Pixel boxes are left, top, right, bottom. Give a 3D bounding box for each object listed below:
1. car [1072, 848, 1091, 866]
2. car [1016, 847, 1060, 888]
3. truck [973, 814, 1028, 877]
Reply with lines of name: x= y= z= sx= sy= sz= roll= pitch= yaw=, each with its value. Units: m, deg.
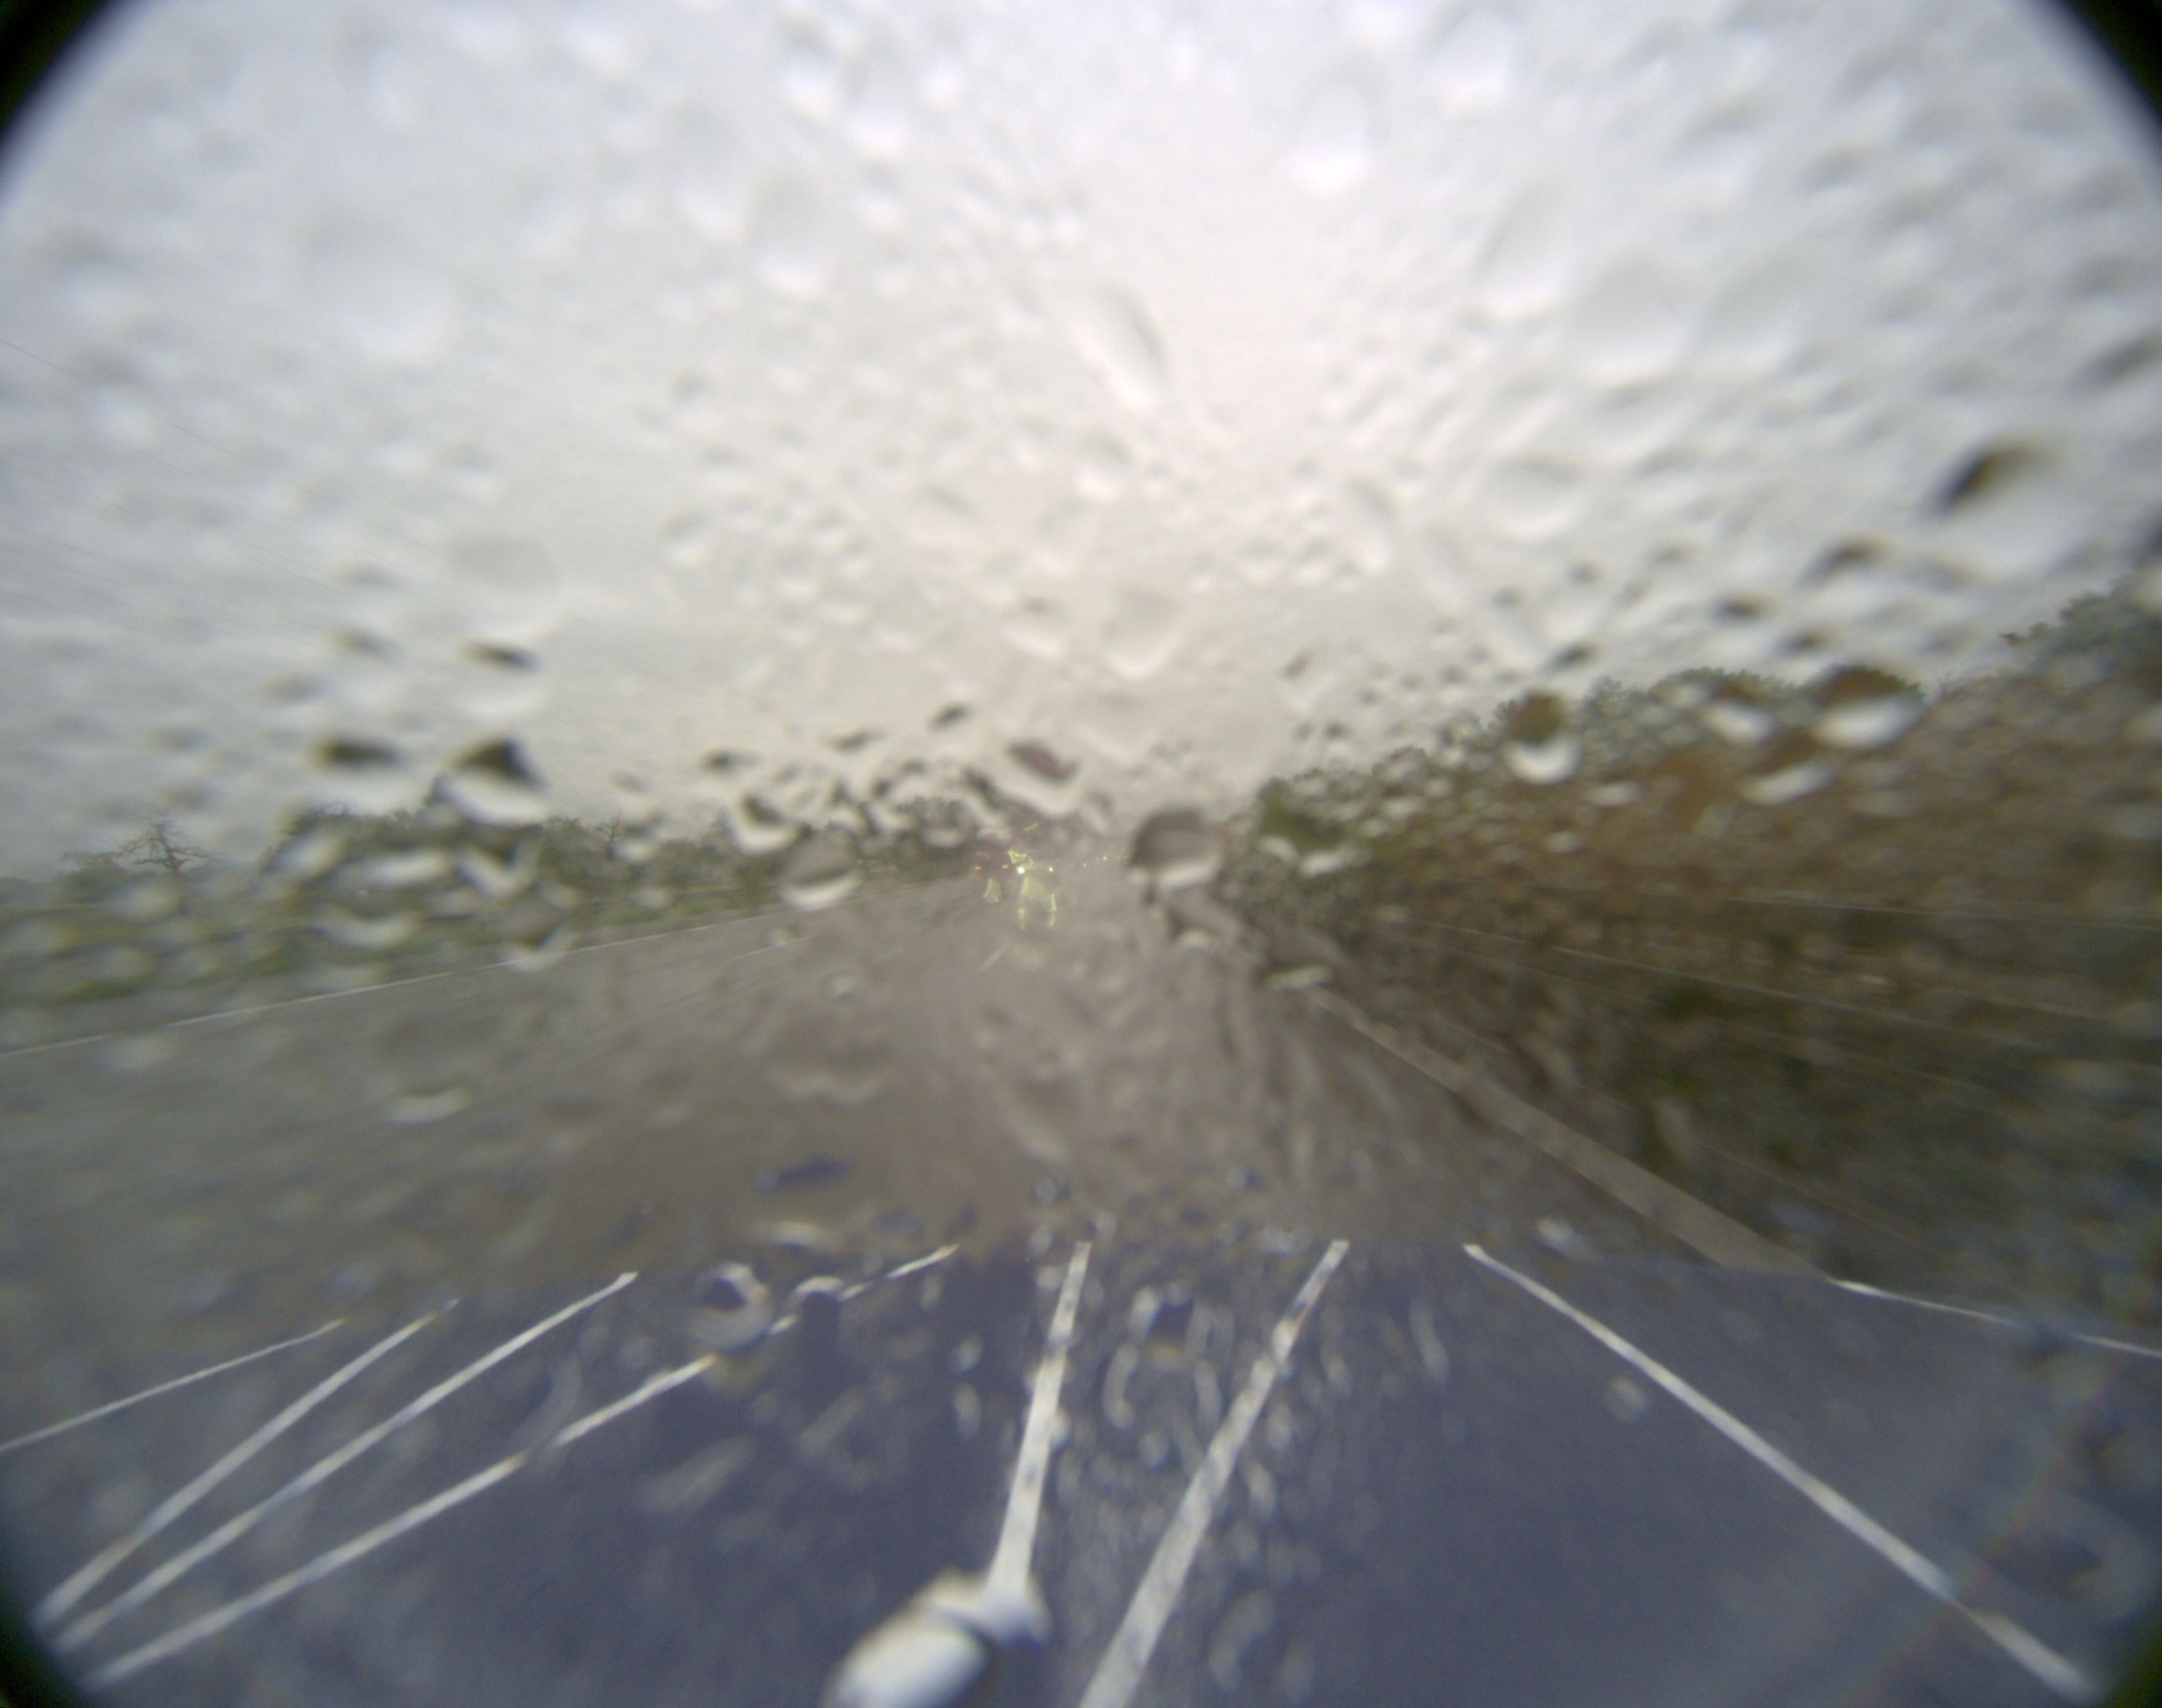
car: x=0.064 y=0.298 z=89.199 sx=1.998 sy=2.002 sz=4.000 roll=-2 pitch=1 yaw=2
car: x=-2.255 y=0.671 z=40.647 sx=1.998 sy=2.002 sz=4.000 roll=-3 pitch=0 yaw=0
truck: x=-6.442 y=-0.700 z=62.864 sx=3.136 sy=4.642 sz=11.402 roll=-2 pitch=1 yaw=0
